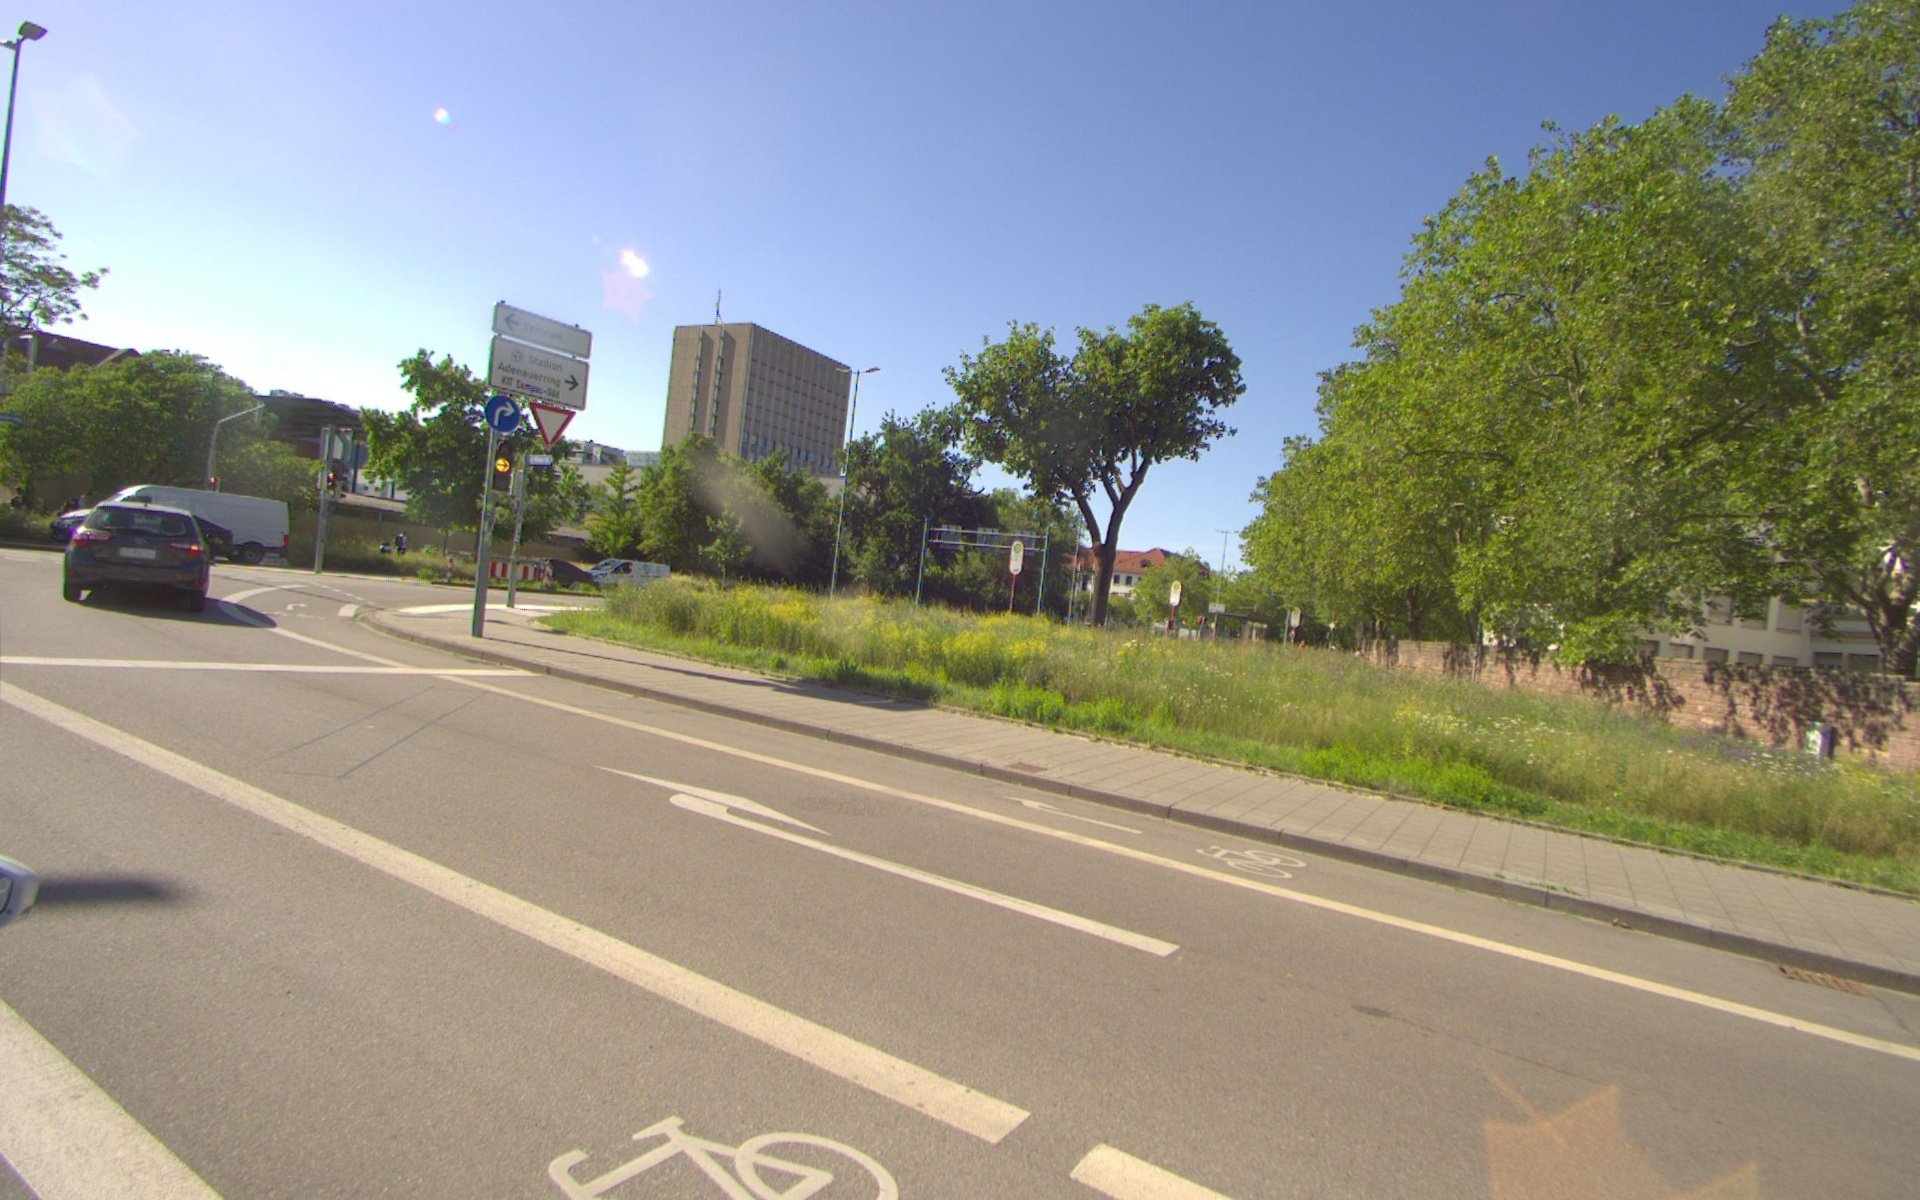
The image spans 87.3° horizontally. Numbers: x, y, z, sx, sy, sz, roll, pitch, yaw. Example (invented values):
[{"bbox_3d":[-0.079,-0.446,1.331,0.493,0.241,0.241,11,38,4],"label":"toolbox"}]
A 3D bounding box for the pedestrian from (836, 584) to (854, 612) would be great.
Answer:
[{"bbox_3d":[-8.940,-0.155,78.062,0.800,2.105,0.896,7,1,35],"label":"pedestrian"}]

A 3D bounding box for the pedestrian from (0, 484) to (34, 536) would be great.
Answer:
[{"bbox_3d":[-36.884,-3.495,39.242,0.795,1.879,0.931,7,1,40],"label":"pedestrian"}]

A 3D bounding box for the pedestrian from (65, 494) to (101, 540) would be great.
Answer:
[{"bbox_3d":[-35.994,-3.408,41.286,0.959,1.754,0.915,6,1,-40],"label":"pedestrian"}]

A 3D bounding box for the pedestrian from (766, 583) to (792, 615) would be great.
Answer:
[{"bbox_3d":[-12.879,-0.086,71.491,1.065,2.105,1.231,7,1,35],"label":"pedestrian"}]

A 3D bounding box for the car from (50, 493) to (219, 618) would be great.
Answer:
[{"bbox_3d":[-13.032,-0.740,16.029,1.729,1.534,3.958,9,-1,-38],"label":"car"}]

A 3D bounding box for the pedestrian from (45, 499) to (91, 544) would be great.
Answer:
[{"bbox_3d":[-34.581,-3.043,38.985,0.865,1.540,1.074,7,1,36],"label":"pedestrian"}]

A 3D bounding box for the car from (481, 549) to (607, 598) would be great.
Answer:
[{"bbox_3d":[-18.898,-1.193,45.919,2.069,1.601,4.842,7,0,36],"label":"car"}]

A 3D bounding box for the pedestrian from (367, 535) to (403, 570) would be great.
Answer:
[{"bbox_3d":[-28.728,-2.375,50.267,0.975,1.540,1.129,7,1,35],"label":"pedestrian"}]

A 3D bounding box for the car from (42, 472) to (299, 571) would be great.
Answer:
[{"bbox_3d":[-29.247,-2.841,37.534,2.969,2.578,6.929,7,0,39],"label":"car"}]

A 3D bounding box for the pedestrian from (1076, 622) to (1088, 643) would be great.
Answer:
[{"bbox_3d":[13.026,3.453,107.240,0.633,2.194,0.912,7,1,35],"label":"pedestrian"}]

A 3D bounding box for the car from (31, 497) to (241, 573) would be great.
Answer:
[{"bbox_3d":[-27.514,-2.114,33.762,1.971,1.691,5.031,5,-3,38],"label":"car"}]

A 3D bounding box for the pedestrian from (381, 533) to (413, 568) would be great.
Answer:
[{"bbox_3d":[-27.889,-2.444,49.819,0.871,1.540,0.971,7,1,35],"label":"pedestrian"}]

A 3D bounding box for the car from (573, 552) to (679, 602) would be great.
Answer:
[{"bbox_3d":[-17.571,-1.167,53.114,2.038,2.038,5.004,7,0,33],"label":"car"}]
